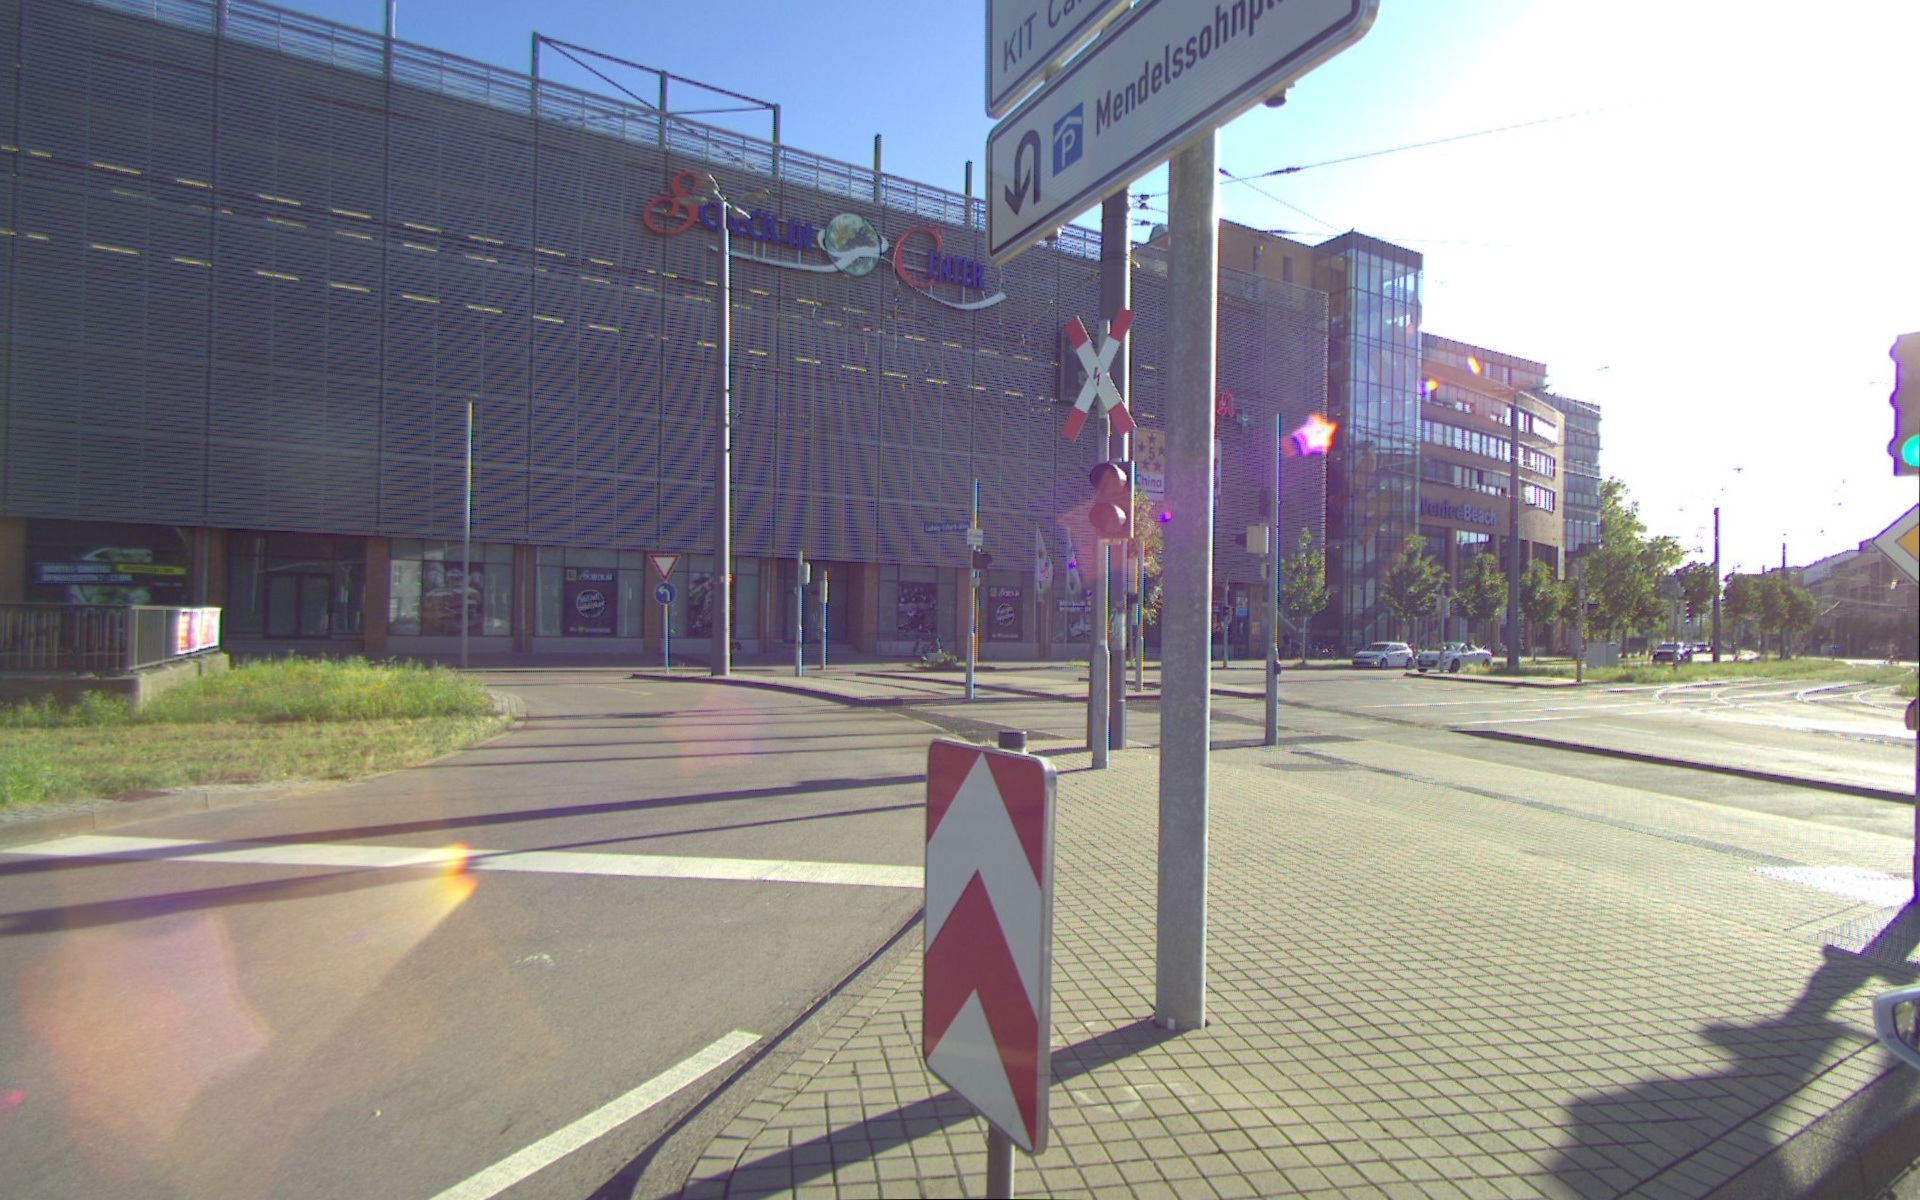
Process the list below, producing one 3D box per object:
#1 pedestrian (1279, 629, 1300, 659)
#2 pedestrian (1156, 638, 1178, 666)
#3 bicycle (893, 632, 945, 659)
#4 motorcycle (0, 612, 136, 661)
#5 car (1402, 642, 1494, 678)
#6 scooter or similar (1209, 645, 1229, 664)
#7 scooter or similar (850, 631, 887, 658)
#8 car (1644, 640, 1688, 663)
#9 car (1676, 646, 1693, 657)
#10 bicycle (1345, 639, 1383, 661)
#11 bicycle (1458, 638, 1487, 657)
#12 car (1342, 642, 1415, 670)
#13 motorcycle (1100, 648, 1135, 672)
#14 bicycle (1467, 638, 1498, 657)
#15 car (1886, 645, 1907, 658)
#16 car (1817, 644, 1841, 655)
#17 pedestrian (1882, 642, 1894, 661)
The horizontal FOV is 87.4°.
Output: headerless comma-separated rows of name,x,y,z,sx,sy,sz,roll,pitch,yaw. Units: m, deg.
pedestrian,20.703,2.742,63.143,0.894,1.848,0.823,3,-3,-28
pedestrian,12.344,3.093,59.884,0.819,1.586,0.983,3,-3,-30
bicycle,-1.963,2.201,48.043,2.384,1.237,0.797,2,-2,-27
motorcycle,-28.673,1.134,31.575,3.953,1.472,1.984,2,-2,-30
car,22.938,2.773,47.160,4.485,1.566,1.981,2,-2,-35
scooter or similar,15.549,3.290,60.302,1.138,1.124,0.419,3,-3,-29
scooter or similar,-4.435,2.162,48.728,1.555,1.222,0.790,3,-3,-29
car,53.146,3.862,75.612,4.384,1.661,1.973,3,-2,-45
car,119.526,8.490,165.707,1.965,1.706,3.992,0,-2,31
bicycle,27.791,3.425,69.120,1.060,1.452,2.367,2,-3,-20
bicycle,41.968,3.890,82.255,0.747,1.452,2.135,2,-3,-20
car,22.274,2.935,53.436,3.962,1.425,1.881,2,-2,-37
motorcycle,8.581,3.249,54.609,1.872,1.254,0.672,3,-3,-31
bicycle,43.031,3.908,82.731,0.777,1.452,2.417,2,-3,-20
car,130.093,7.210,139.522,3.975,1.728,1.974,4,-4,-44
car,142.917,8.134,165.253,1.963,1.661,4.406,1,-2,28
pedestrian,94.883,5.245,102.706,0.892,1.848,0.824,-1,-4,44
